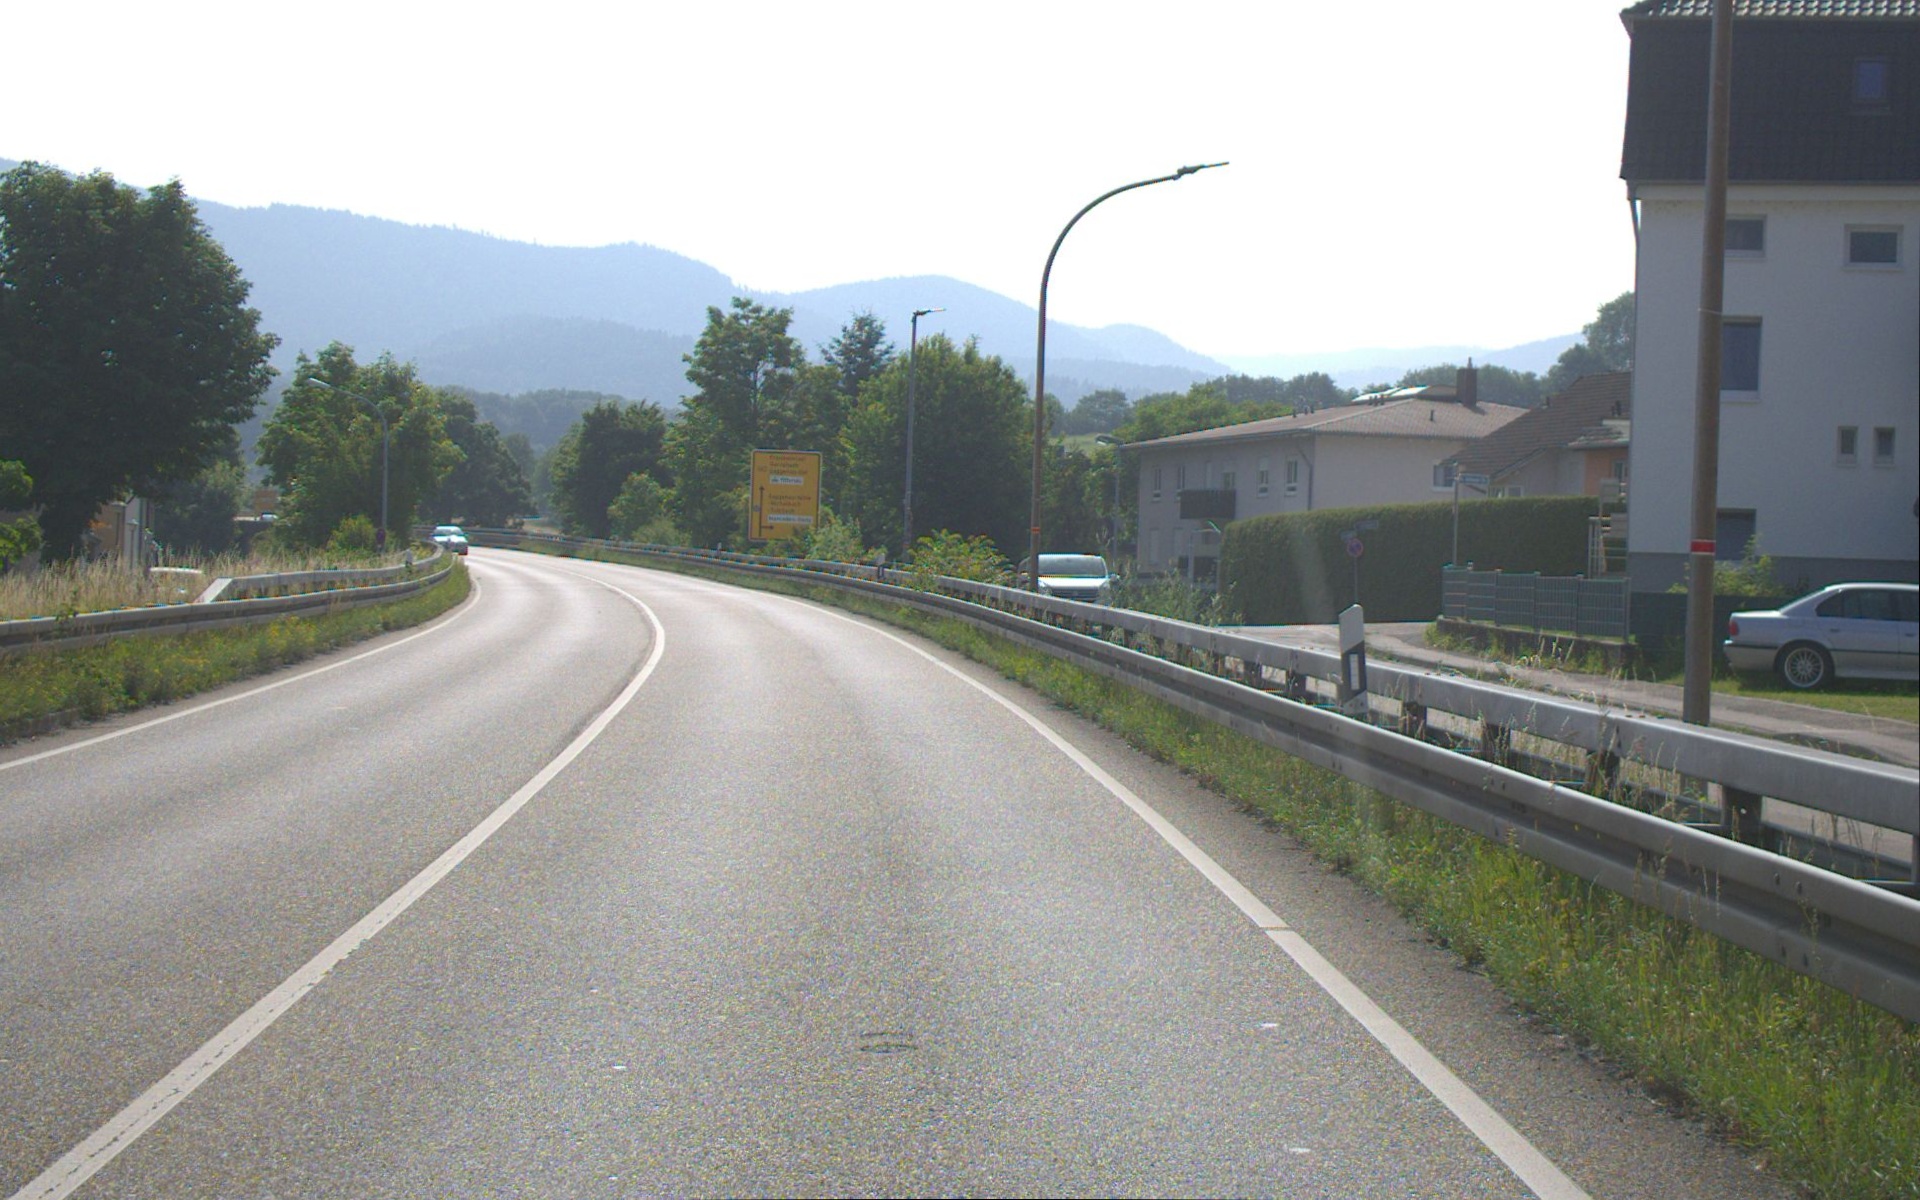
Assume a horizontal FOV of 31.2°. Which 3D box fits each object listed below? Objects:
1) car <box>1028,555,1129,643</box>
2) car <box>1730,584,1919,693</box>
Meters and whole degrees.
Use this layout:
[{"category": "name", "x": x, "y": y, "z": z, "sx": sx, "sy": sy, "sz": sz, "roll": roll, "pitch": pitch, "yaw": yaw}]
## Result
[{"category": "car", "x": 2.784, "y": -0.058, "z": 81.937, "sx": 1.993, "sy": 1.938, "sz": 5.362, "roll": 1, "pitch": 1, "yaw": -2}, {"category": "car", "x": 12.585, "y": 0.499, "z": 45.049, "sx": 4.602, "sy": 1.343, "sz": 1.753, "roll": 1, "pitch": 2, "yaw": 24}]
